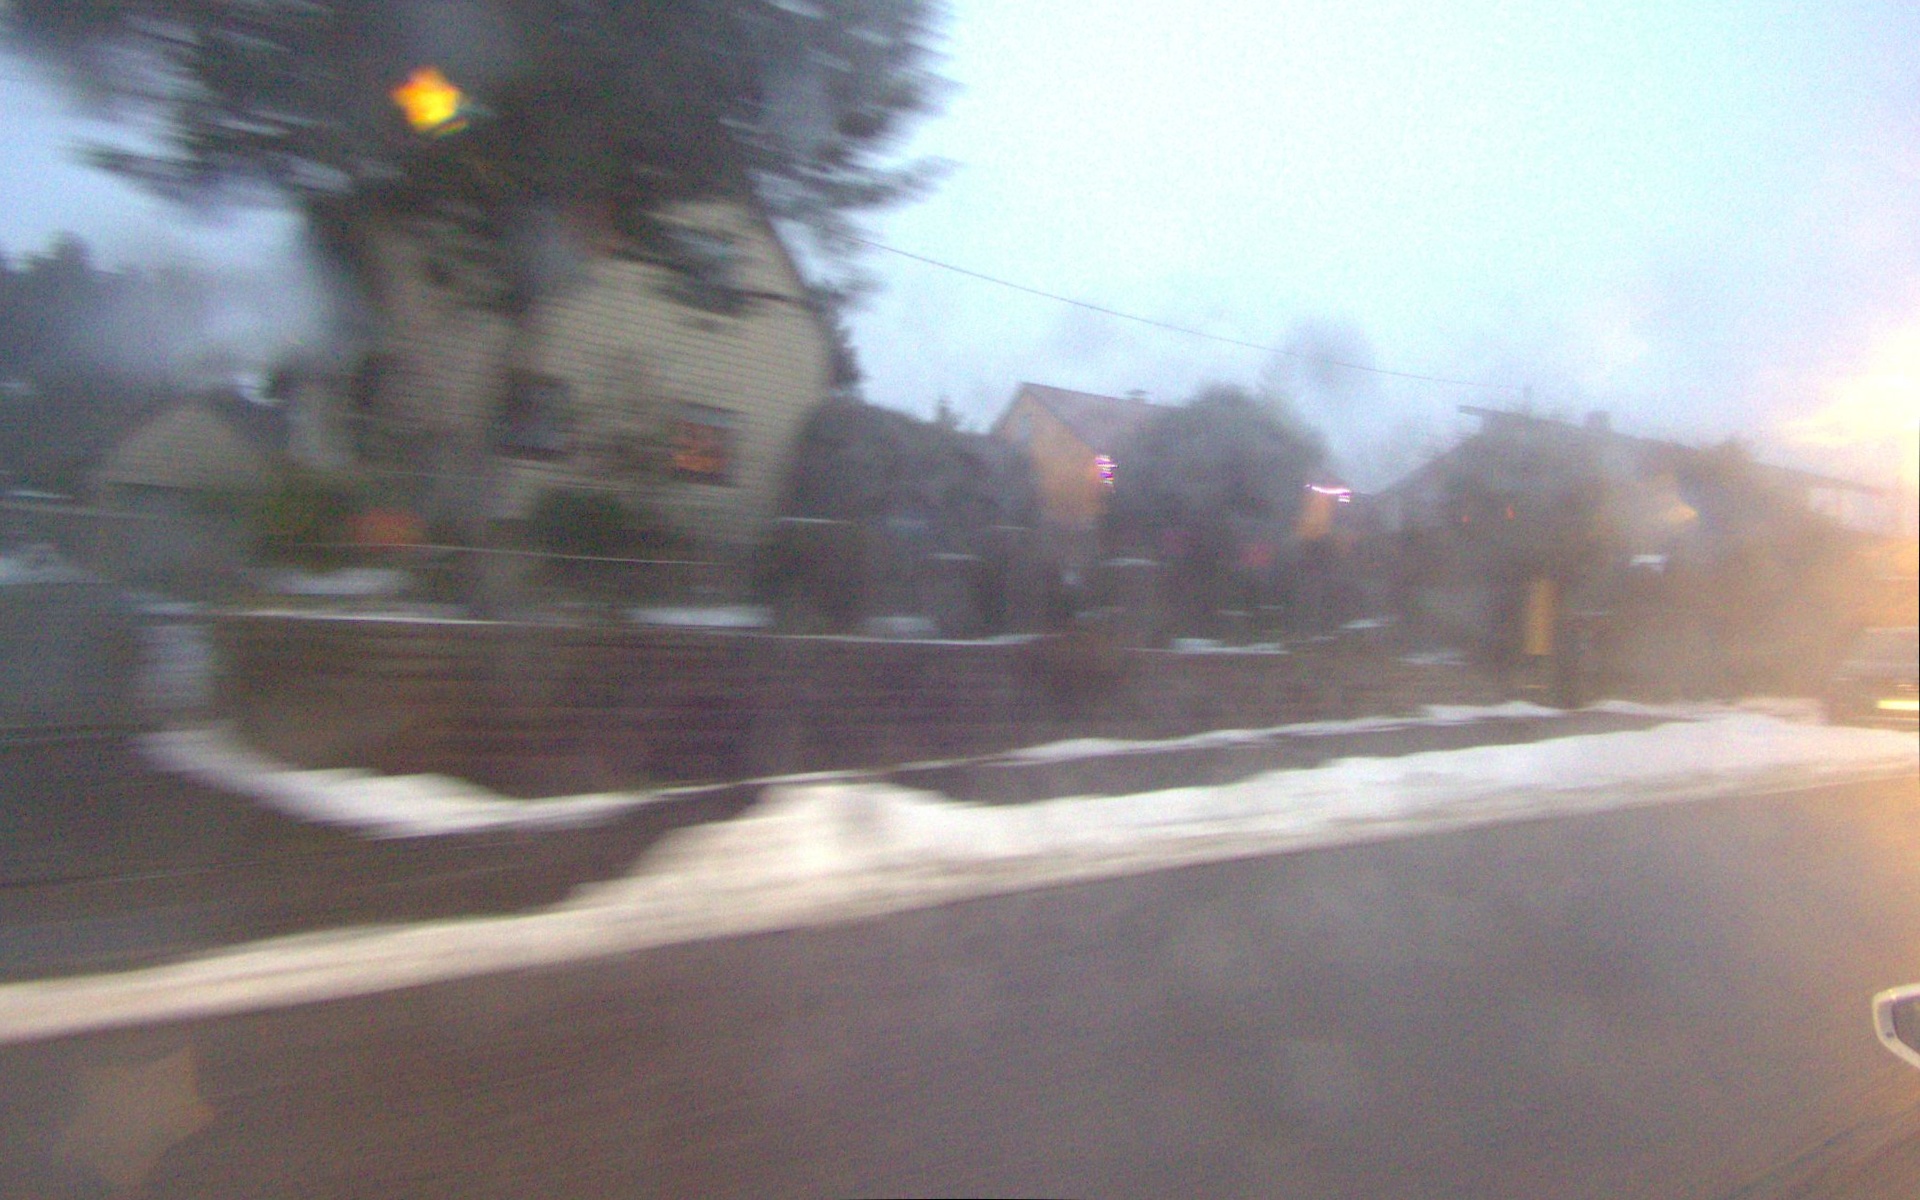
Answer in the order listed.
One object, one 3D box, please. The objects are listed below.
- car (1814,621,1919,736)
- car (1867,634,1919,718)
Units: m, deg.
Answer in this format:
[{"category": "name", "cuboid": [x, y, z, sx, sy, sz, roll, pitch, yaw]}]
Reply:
[{"category": "car", "cuboid": [15.010, 1.226, 15.646, 4.962, 1.586, 1.976, 4, -5, -43]}, {"category": "car", "cuboid": [19.968, 1.448, 18.468, 2.088, 1.586, 4.504, 3, -3, -32]}]
